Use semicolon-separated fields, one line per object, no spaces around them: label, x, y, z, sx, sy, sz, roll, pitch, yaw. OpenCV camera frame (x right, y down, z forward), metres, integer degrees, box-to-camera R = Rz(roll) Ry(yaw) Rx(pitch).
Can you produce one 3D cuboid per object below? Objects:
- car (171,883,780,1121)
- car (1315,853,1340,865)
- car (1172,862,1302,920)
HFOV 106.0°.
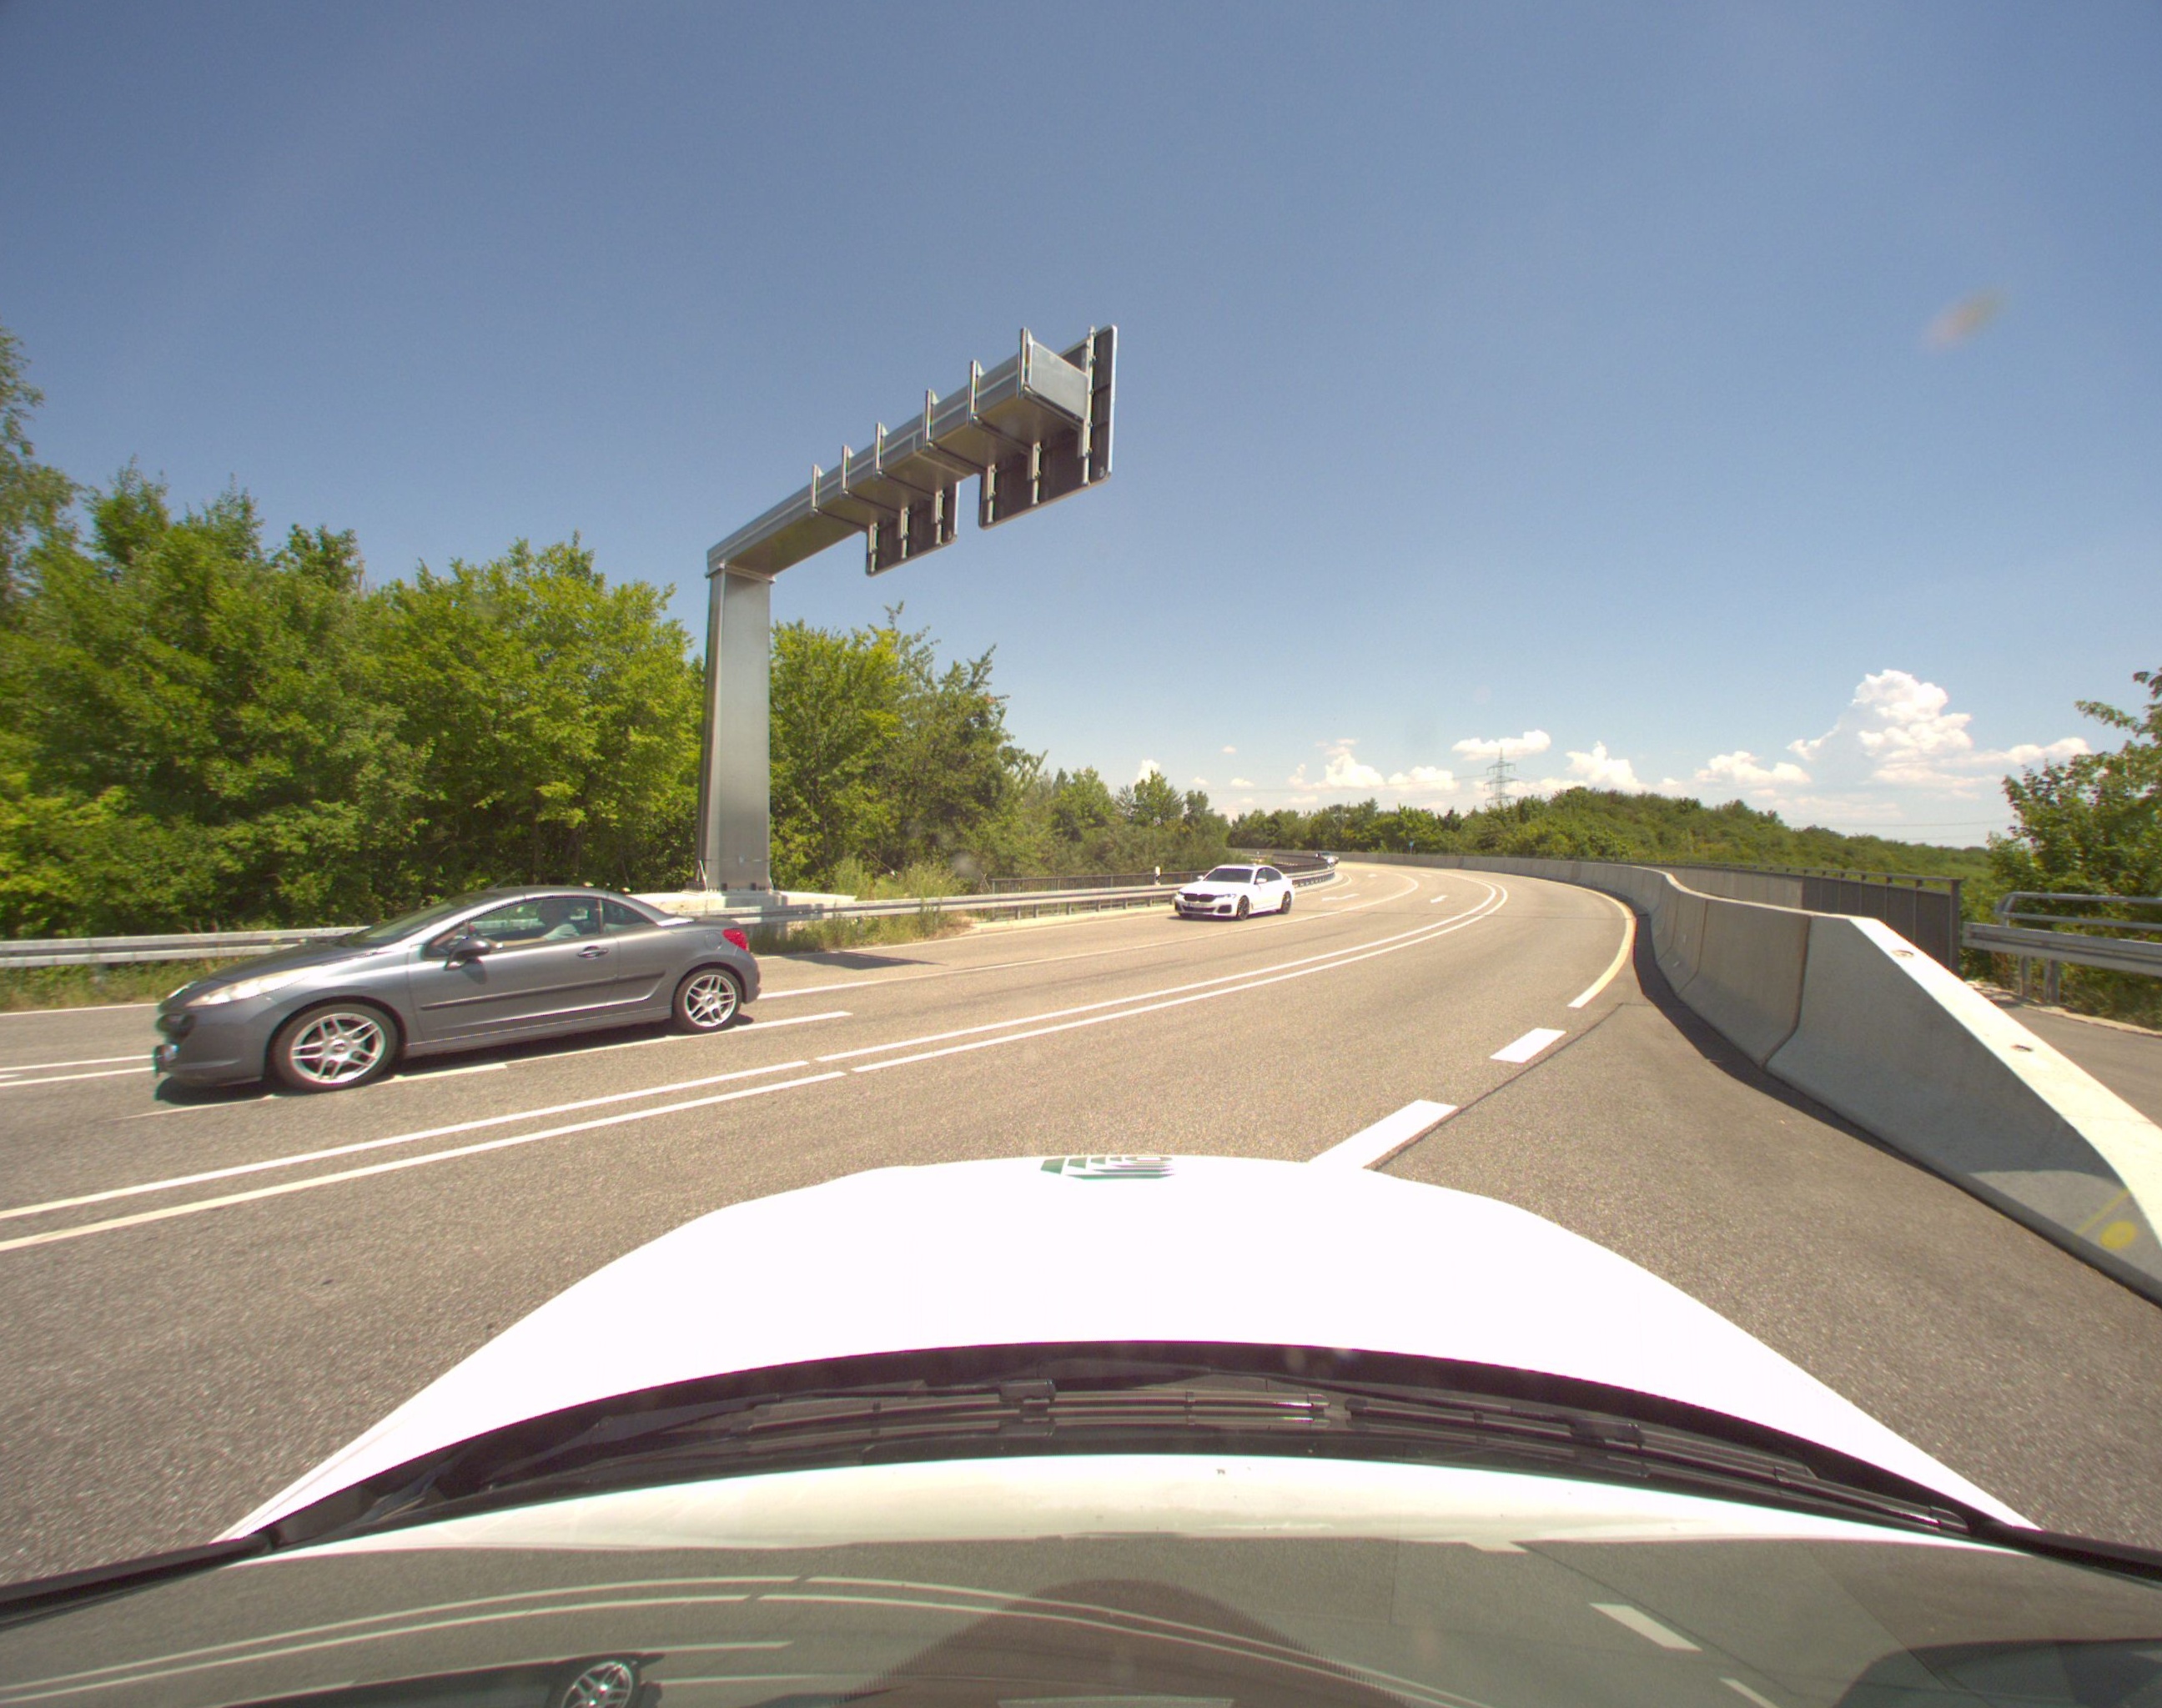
car;-4.919;1.002;7.090;1.630;1.352;3.993;-3;-2;42
car;28.186;0.537;93.347;1.771;1.384;4.285;-1;0;3
car;4.606;0.996;23.368;1.820;1.484;4.868;-3;-2;34
